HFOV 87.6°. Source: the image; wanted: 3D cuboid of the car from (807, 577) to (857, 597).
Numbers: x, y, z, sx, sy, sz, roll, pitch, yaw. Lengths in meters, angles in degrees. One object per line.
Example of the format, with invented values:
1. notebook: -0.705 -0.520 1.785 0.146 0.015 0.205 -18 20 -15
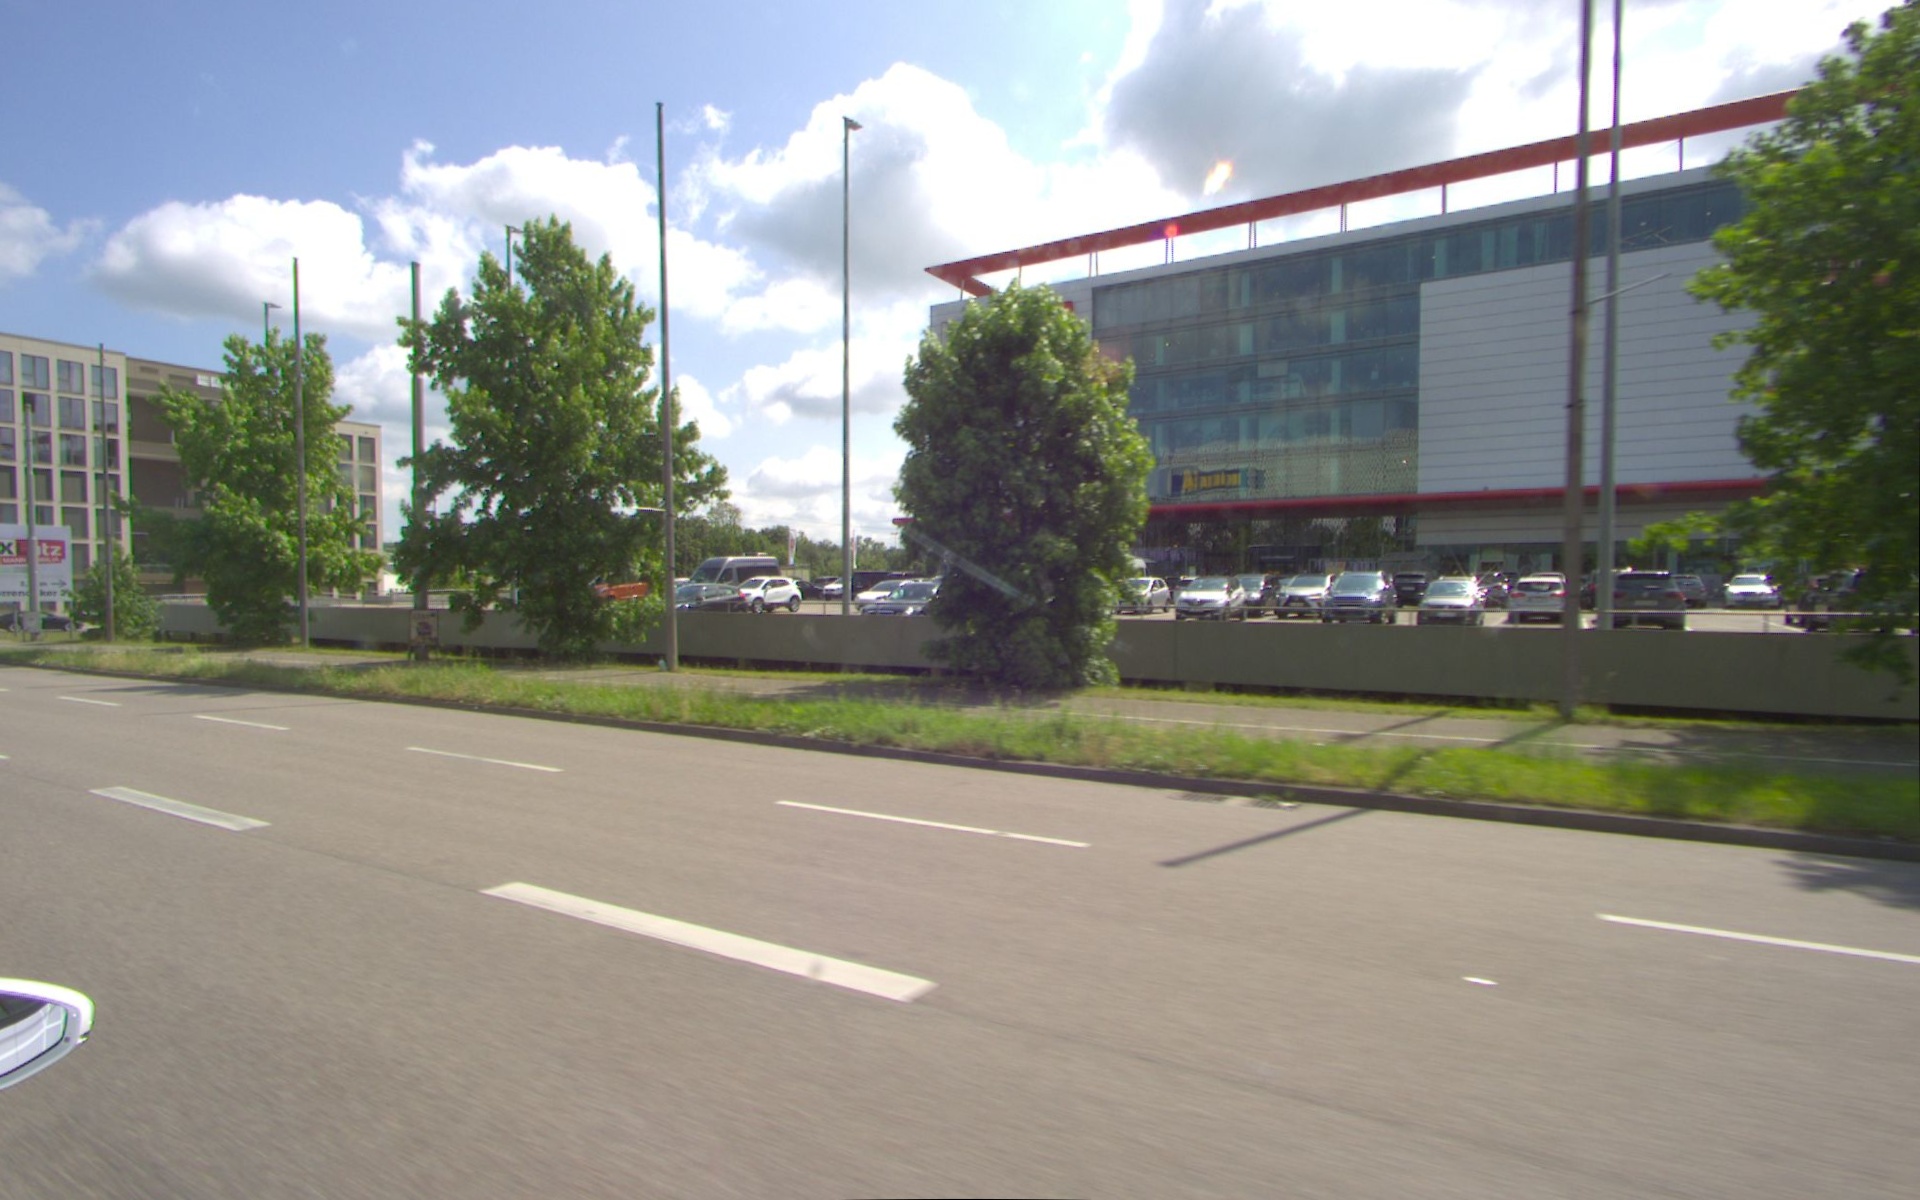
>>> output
1. car: -10.525 -1.029 82.587 1.972 1.572 3.977 0 -1 34

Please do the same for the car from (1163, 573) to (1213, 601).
1. car: 12.626 -0.711 55.377 1.605 1.439 3.561 1 0 31

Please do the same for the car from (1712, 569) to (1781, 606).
1. car: 33.001 -0.511 42.113 1.878 1.483 3.978 1 0 33

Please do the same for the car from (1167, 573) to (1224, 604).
1. car: 11.755 -0.547 49.828 1.605 1.439 3.980 1 0 31

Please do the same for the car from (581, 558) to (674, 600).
1. car: -19.325 -1.190 58.389 1.958 2.224 5.153 0 -1 31

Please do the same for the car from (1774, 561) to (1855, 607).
1. car: 34.778 -0.648 40.878 1.972 1.774 3.977 1 2 33

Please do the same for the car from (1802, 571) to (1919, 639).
1. car: 22.678 0.061 25.054 1.738 1.574 4.174 1 2 30

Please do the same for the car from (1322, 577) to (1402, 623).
1. car: 12.842 -0.039 31.856 1.663 1.343 4.174 1 2 32

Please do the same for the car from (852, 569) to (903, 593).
1. car: -5.438 -1.228 66.492 1.562 1.484 3.518 1 0 32

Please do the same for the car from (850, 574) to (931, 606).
1. car: -3.226 -0.505 47.199 1.701 1.454 4.174 1 2 31

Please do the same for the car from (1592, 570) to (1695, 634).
1. car: 18.599 -0.026 27.440 2.000 1.596 4.350 1 2 30

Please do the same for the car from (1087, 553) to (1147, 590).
1. car: 8.872 -1.566 56.329 1.971 1.977 3.979 1 0 32

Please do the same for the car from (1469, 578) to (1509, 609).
1. car: 22.404 -0.249 42.393 1.372 1.270 3.405 1 0 30

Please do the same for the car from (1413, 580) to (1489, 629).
1. car: 14.919 0.072 30.321 1.738 1.343 4.350 1 2 30

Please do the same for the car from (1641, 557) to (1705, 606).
1. car: 31.080 -0.757 43.738 1.971 2.040 3.980 1 0 32

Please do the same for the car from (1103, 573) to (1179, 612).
1. car: 7.781 -0.292 42.742 1.970 1.592 3.982 1 0 30

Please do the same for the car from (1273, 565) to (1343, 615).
1. car: 13.096 -0.369 37.568 1.765 1.751 3.981 1 1 30

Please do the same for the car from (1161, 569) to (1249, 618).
1. car: 8.530 -0.180 34.677 1.970 1.591 3.982 0 0 30

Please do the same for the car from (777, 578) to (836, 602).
1. car: -10.857 -0.690 70.819 1.972 1.572 3.977 0 -1 34

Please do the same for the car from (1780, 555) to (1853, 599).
1. car: 41.663 -1.086 48.800 1.970 2.040 3.981 1 0 30

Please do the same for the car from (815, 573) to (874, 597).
1. car: -7.861 -1.017 68.427 1.971 1.564 3.978 1 0 33

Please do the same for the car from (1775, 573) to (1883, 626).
1. car: 25.931 -0.069 30.026 1.702 1.484 3.979 1 2 31

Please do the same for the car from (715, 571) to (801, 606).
1. car: -9.280 -0.497 46.281 1.721 1.534 3.981 -1 -1 30

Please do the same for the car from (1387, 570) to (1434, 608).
1. car: 19.881 -0.469 44.138 1.551 1.617 3.666 1 0 30

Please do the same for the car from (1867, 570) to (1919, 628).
1. car: 27.240 -0.019 28.022 1.863 1.519 4.352 0 0 30

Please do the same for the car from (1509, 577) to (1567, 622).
1. car: 19.140 -0.009 33.146 1.591 1.406 3.760 0 0 31

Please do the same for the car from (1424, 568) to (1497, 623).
1. car: 17.299 -0.138 34.515 1.970 1.773 3.981 1 0 31

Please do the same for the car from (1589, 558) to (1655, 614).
1. car: 25.490 -0.507 38.643 1.971 2.040 3.979 1 0 32

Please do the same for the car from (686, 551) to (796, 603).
1. car: -10.667 -1.044 49.292 2.031 2.397 5.650 0 0 30

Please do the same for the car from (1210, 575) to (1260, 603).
1. car: 15.049 -0.598 54.744 1.605 1.439 3.980 1 0 31

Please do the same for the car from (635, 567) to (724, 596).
1. car: -15.633 -1.020 56.063 1.957 1.473 4.860 0 0 30

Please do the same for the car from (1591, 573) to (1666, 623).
1. car: 21.248 -0.048 31.961 1.734 1.483 4.233 1 0 31
